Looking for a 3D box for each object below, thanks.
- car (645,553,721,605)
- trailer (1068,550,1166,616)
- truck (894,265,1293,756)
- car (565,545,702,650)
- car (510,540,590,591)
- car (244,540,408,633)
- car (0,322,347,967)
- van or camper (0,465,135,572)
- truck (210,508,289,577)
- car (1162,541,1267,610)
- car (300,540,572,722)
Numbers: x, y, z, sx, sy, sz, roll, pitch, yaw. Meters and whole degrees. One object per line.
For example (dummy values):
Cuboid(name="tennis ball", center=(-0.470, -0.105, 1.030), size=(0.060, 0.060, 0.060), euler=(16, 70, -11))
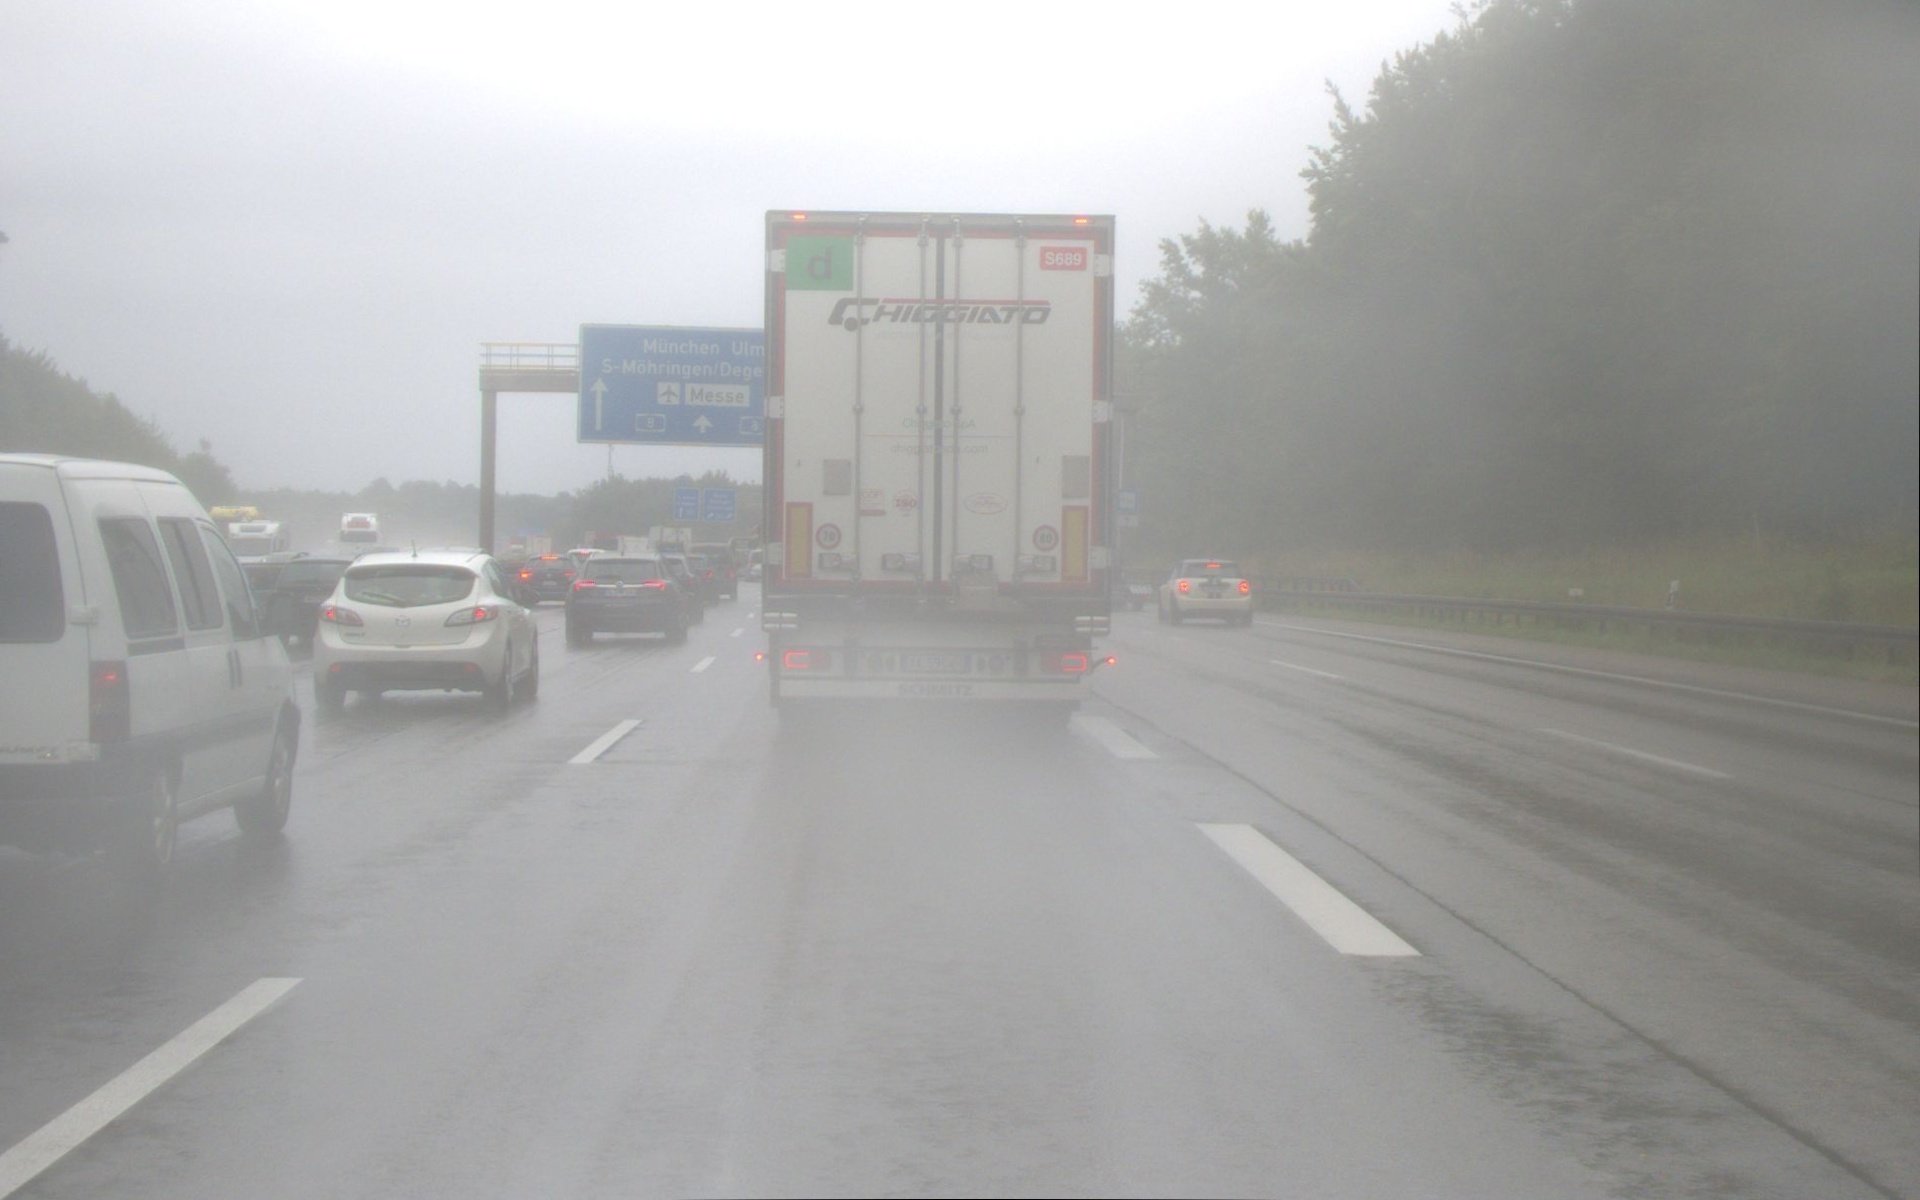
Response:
Cuboid(name="car", center=(-7.529, -0.583, 93.803), size=(1.845, 1.326, 4.467), euler=(1, 1, -2))
Cuboid(name="trailer", center=(4.308, -0.488, 94.974), size=(2.243, 1.708, 5.083), euler=(1, 1, -2))
Cuboid(name="truck", center=(1.039, -0.717, 30.801), size=(2.872, 3.550, 11.302), euler=(1, 1, 1))
Cuboid(name="car", center=(-5.268, -0.081, 55.997), size=(1.845, 1.586, 4.467), euler=(1, 1, -1))
Cuboid(name="car", center=(-11.379, -0.975, 95.627), size=(1.845, 1.326, 4.467), euler=(1, 1, -2))
Cuboid(name="car", center=(-9.792, -0.237, 53.400), size=(1.845, 1.326, 4.467), euler=(1, 1, -2))
Cuboid(name="car", center=(-4.476, 0.109, 16.211), size=(2.213, 2.564, 5.016), euler=(1, 1, 1))
Cuboid(name="van or camper", center=(-26.582, -2.358, 100.888), size=(2.842, 2.968, 8.787), euler=(1, 1, -2))
Cuboid(name="truck", center=(-37.448, -3.032, 181.485), size=(2.519, 3.471, 11.722), euler=(1, 1, -4))
Cuboid(name="car", center=(5.436, -0.555, 73.863), size=(1.790, 1.402, 4.228), euler=(1, 1, -2))
Cuboid(name="car", center=(-4.912, 0.240, 32.727), size=(1.845, 1.586, 4.072), euler=(1, 1, 2))
